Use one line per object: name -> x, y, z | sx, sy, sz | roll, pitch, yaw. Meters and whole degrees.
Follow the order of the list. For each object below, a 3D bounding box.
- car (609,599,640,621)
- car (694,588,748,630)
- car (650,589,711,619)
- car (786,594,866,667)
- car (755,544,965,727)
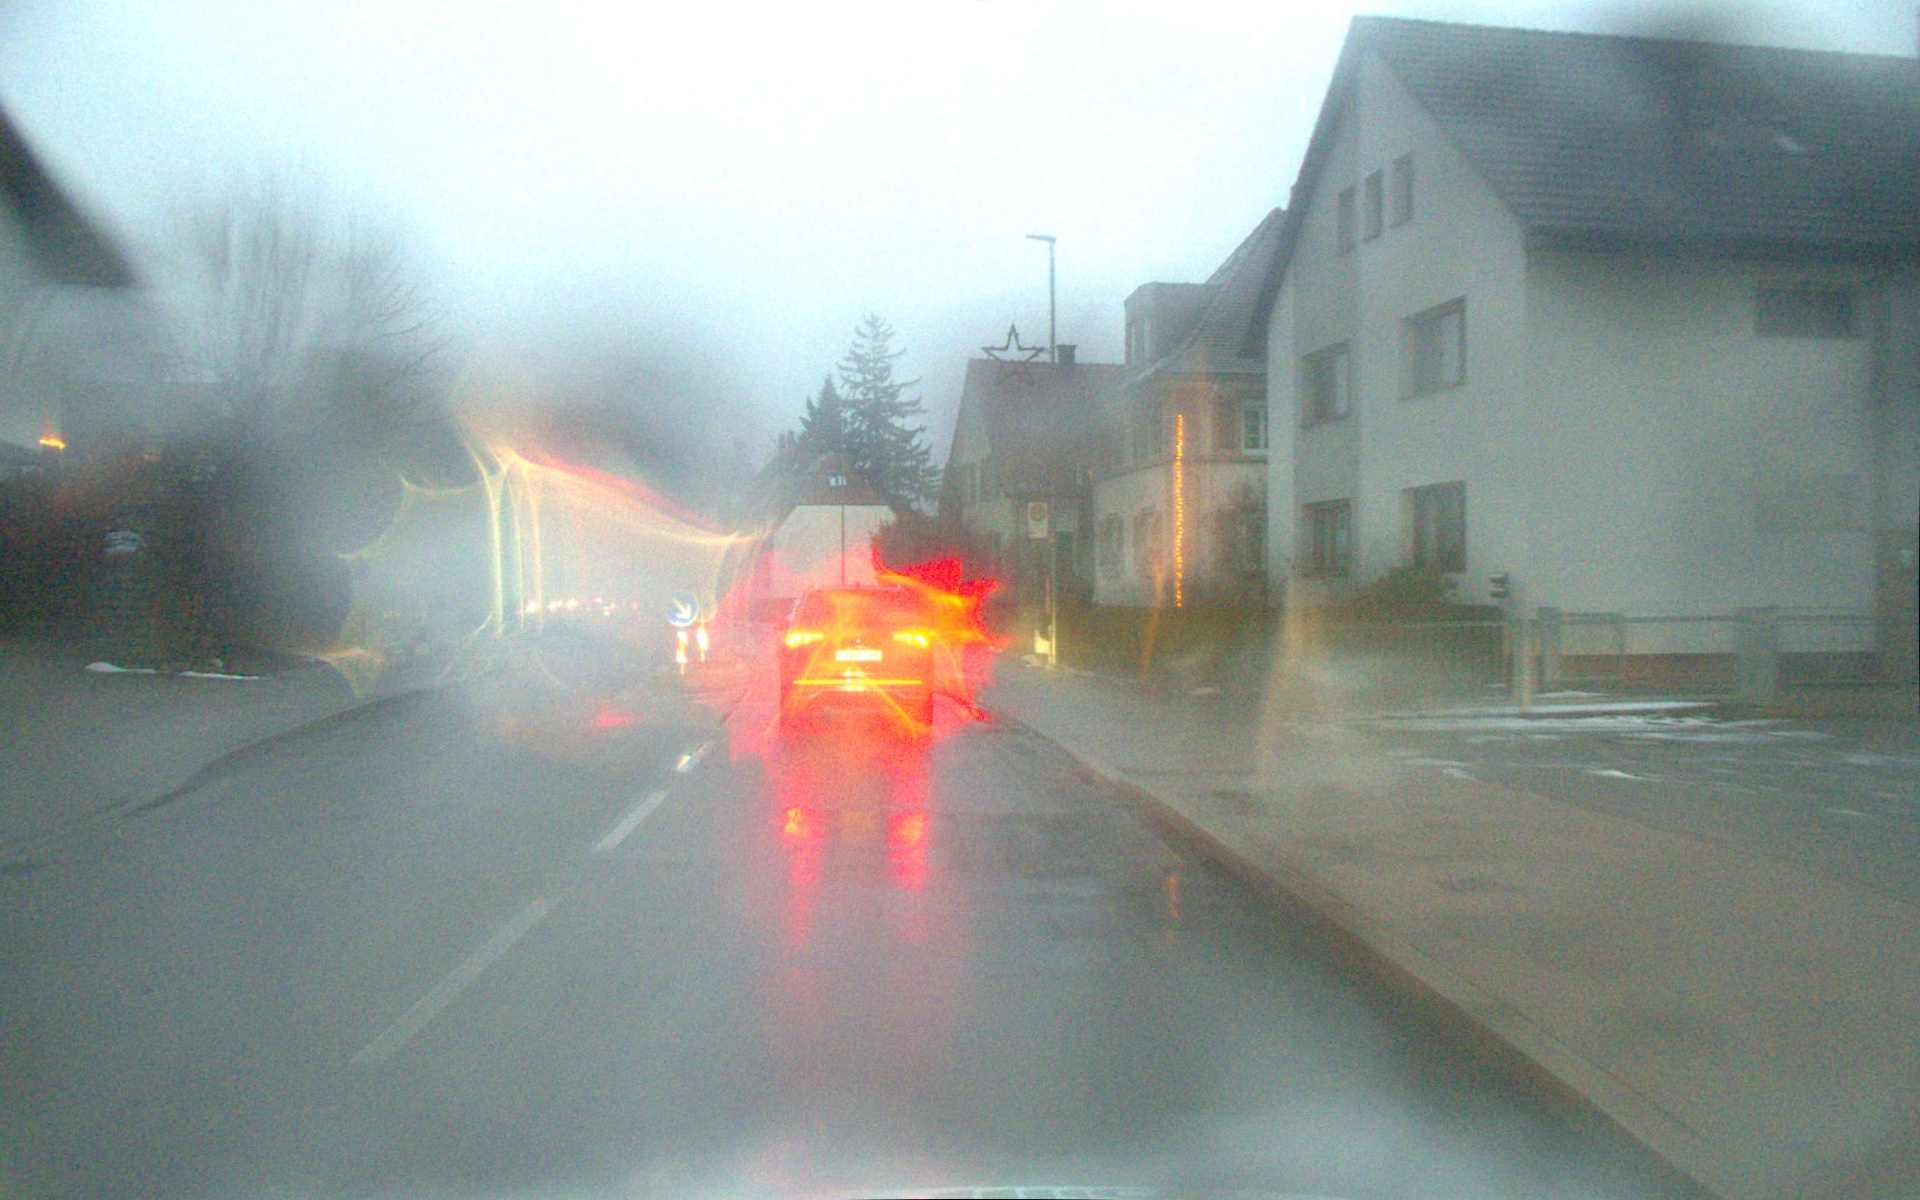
car -> -21.906, 0.619, 107.791 | 1.811, 1.355, 3.923 | -1, 0, -14
car -> -11.775, 0.452, 81.286 | 2.269, 1.972, 5.003 | 0, 0, -12
car -> -19.961, 0.295, 118.228 | 4.174, 2.049, 1.804 | -1, 0, -14
car -> -3.362, 0.716, 40.921 | 1.822, 1.676, 3.994 | 1, 0, -7
car -> -1.276, 0.400, 20.500 | 2.264, 1.972, 5.013 | -1, 0, -5
